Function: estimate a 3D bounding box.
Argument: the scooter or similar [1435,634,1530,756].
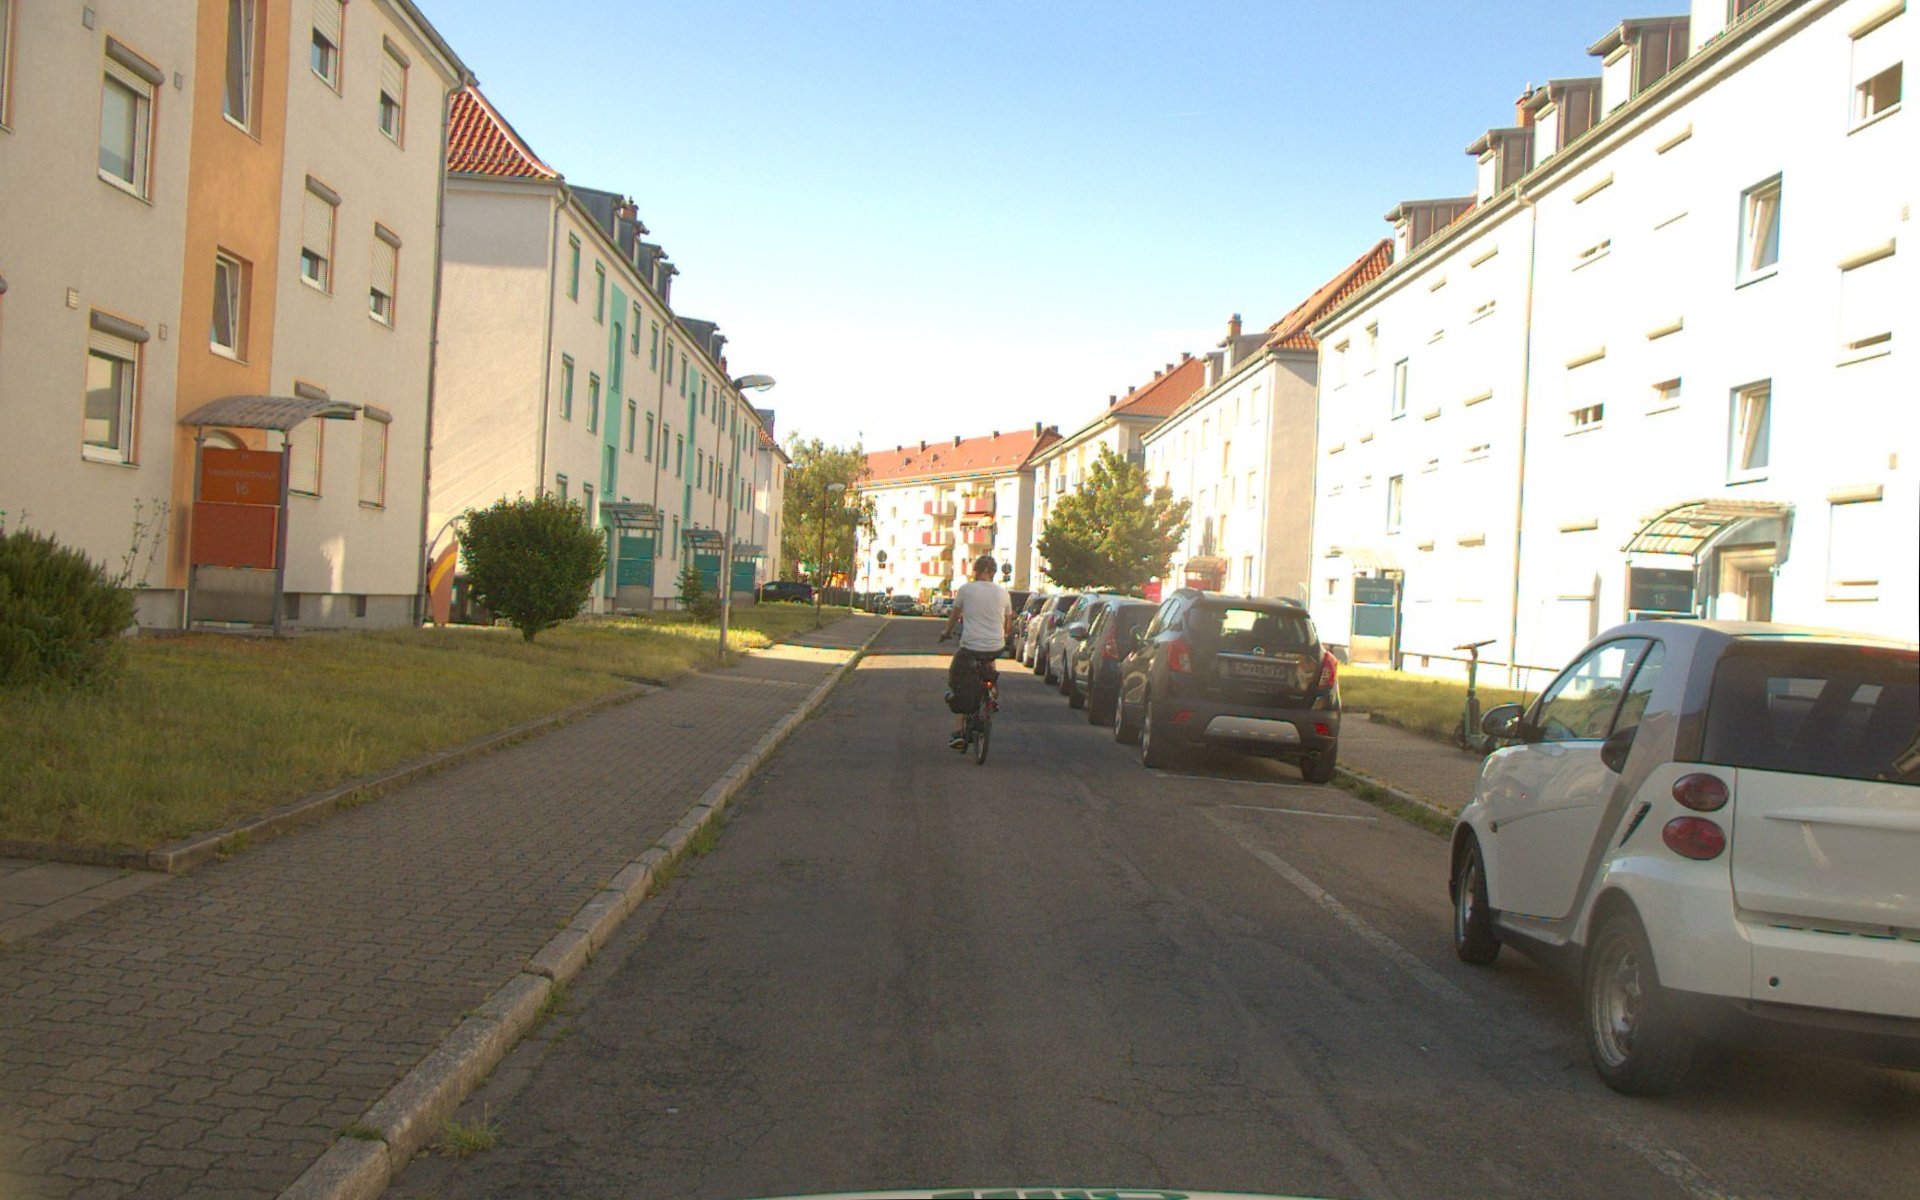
[{"bbox_3d":[5.469,0.969,17.381,0.474,1.169,1.589,-1,1,-1],"label":"scooter or similar"}]

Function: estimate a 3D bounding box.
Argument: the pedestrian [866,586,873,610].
[{"bbox_3d":[-5.963,-0.139,109.225,0.425,1.602,0.543,1,0,-2],"label":"pedestrian"}]

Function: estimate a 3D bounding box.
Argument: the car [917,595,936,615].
[{"bbox_3d":[-2.913,0.416,142.371,1.440,1.542,3.075,3,0,-3],"label":"car"}]

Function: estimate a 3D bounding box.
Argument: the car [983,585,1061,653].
[{"bbox_3d":[1.693,0.493,46.215,1.824,1.697,4.126,4,0,-2],"label":"car"}]

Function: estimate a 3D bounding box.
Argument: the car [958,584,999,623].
[{"bbox_3d":[0.883,0.152,80.483,1.641,1.769,3.940,3,0,-3],"label":"car"}]

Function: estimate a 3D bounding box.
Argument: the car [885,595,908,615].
[{"bbox_3d":[-4.531,0.332,117.563,1.441,1.358,3.137,-1,1,-5],"label":"car"}]

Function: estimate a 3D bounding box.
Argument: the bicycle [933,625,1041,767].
[{"bbox_3d":[0.214,0.835,15.161,0.792,1.148,2.100,1,0,-4],"label":"bicycle"}]

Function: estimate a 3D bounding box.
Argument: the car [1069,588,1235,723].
[{"bbox_3d":[2.417,0.645,21.704,1.608,1.524,4.156,2,0,0],"label":"car"}]

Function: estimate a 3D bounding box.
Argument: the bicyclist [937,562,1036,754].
[{"bbox_3d":[0.228,0.505,15.005,0.793,1.672,0.898,1,0,-4],"label":"bicyclist"}]

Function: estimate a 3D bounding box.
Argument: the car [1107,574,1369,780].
[{"bbox_3d":[2.616,0.653,16.611,1.747,1.676,4.468,4,0,0],"label":"car"}]

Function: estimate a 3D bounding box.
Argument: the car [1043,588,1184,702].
[{"bbox_3d":[2.440,0.668,27.312,1.657,1.602,4.433,4,0,-2],"label":"car"}]

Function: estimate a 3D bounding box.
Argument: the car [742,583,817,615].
[{"bbox_3d":[-10.247,-0.073,94.272,4.149,1.667,1.581,2,0,-6],"label":"car"}]

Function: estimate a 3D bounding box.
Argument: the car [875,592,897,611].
[{"bbox_3d":[-5.565,0.130,124.193,1.441,1.358,3.137,-1,0,-5],"label":"car"}]

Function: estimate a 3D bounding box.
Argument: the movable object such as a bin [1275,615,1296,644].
[{"bbox_3d":[10.734,0.970,54.558,0.512,0.902,0.633,2,0,-1],"label":"movable object such as a bin"}]

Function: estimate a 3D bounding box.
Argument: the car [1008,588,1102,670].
[{"bbox_3d":[2.145,0.618,38.357,1.678,1.623,4.396,5,0,-2],"label":"car"}]

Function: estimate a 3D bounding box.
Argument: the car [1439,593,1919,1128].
[{"bbox_3d":[3.014,0.807,6.445,1.449,1.555,2.942,4,0,2],"label":"car"}]

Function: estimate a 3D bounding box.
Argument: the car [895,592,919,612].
[{"bbox_3d":[-3.659,0.127,113.224,1.441,1.358,3.137,-1,0,-6],"label":"car"}]

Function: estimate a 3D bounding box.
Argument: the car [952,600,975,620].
[{"bbox_3d":[0.249,0.734,122.889,1.440,1.358,3.139,3,0,-3],"label":"car"}]

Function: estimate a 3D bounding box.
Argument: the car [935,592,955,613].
[{"bbox_3d":[-1.203,0.189,129.776,1.354,1.523,3.075,3,0,-3],"label":"car"}]

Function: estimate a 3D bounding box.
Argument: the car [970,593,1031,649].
[{"bbox_3d":[1.339,0.693,56.791,1.667,1.699,4.377,4,0,-3],"label":"car"}]

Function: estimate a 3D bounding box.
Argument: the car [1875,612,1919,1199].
[{"bbox_3d":[3.118,0.869,1.972,1.660,1.517,3.982,4,0,-2],"label":"car"}]

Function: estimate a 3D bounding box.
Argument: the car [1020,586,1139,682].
[{"bbox_3d":[2.324,0.630,33.362,1.716,1.645,4.449,5,0,-3],"label":"car"}]
